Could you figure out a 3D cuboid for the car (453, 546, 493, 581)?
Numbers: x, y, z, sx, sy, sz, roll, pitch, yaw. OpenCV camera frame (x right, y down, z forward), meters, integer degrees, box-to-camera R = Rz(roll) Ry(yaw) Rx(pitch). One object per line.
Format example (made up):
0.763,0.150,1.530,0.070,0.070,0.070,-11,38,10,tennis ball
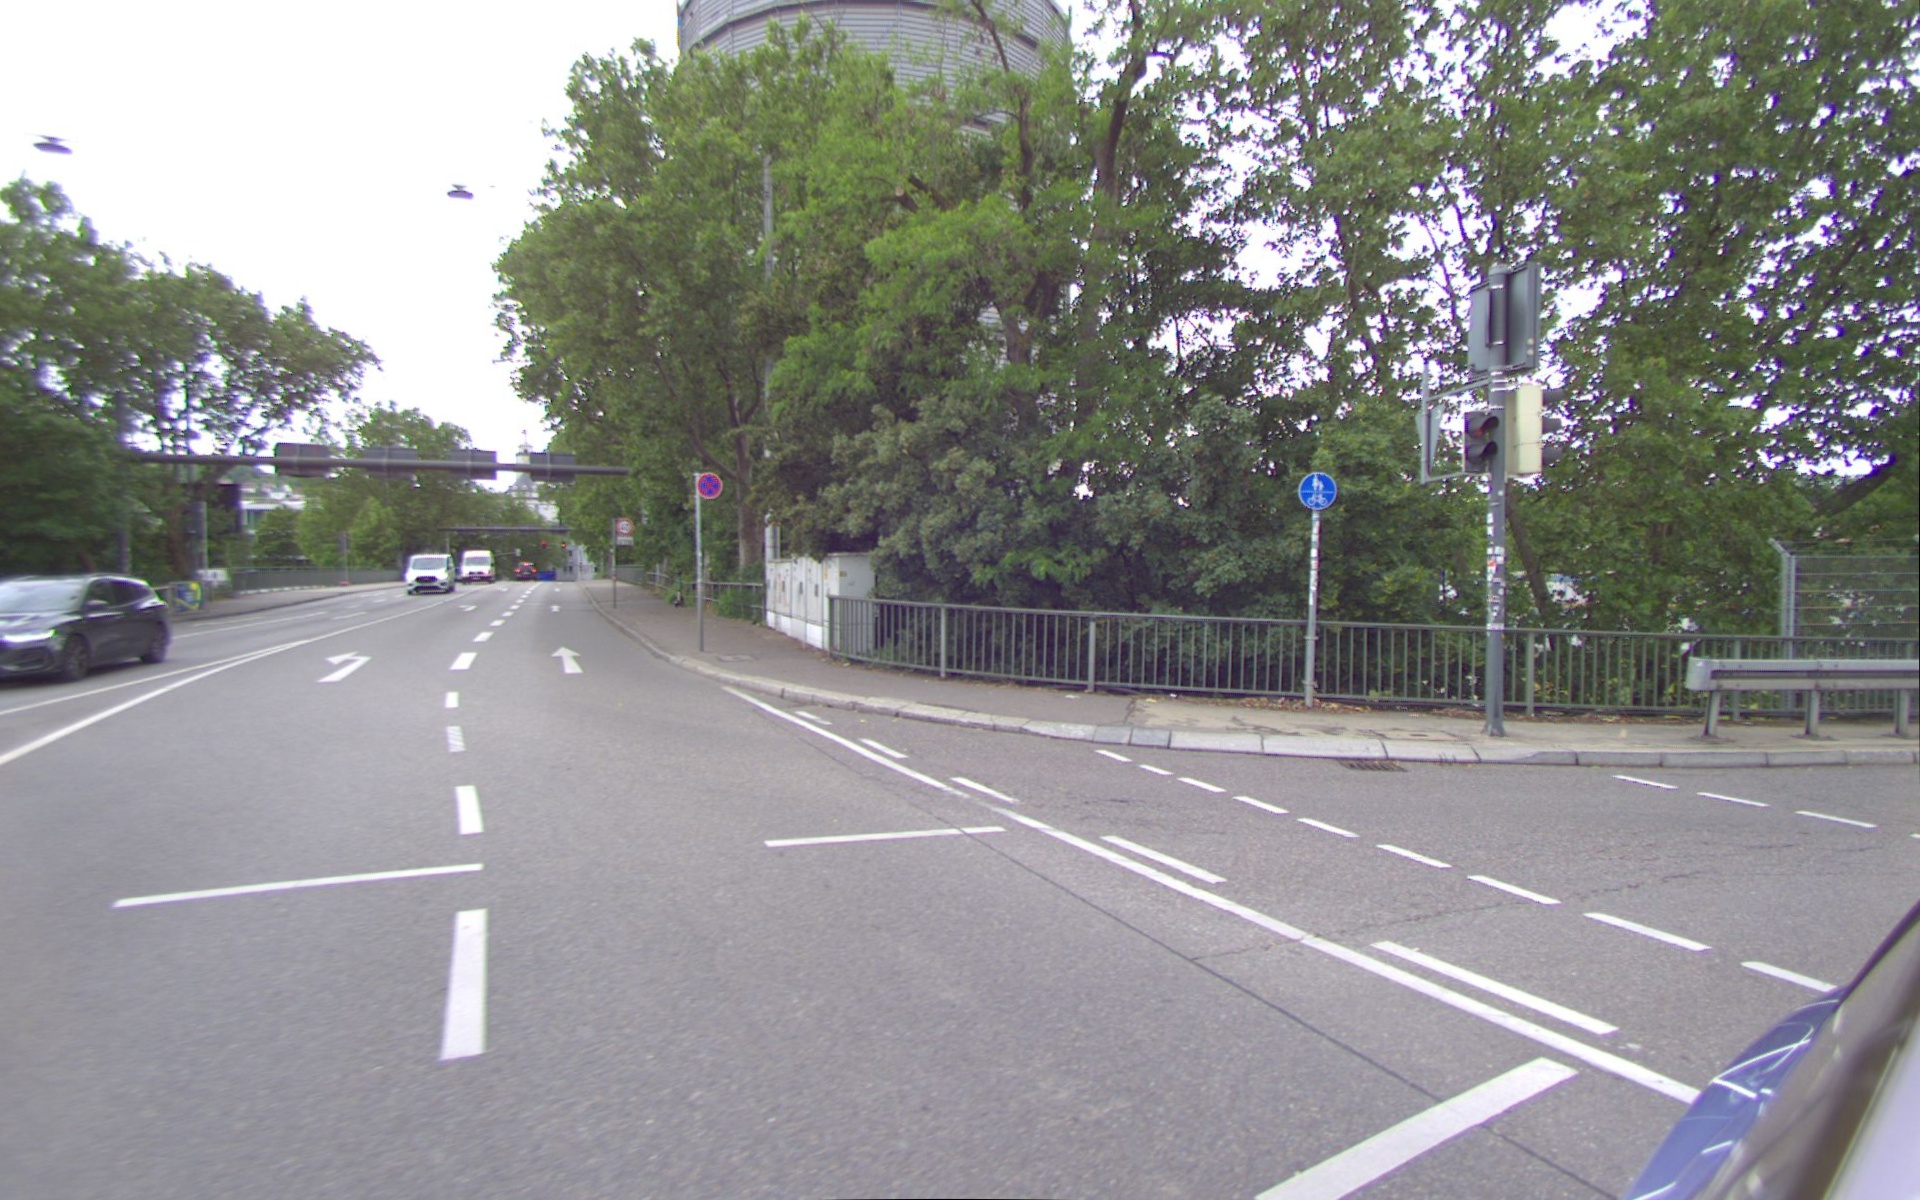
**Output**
-36.862,-2.759,76.714,2.284,2.555,4.960,1,2,-21,car

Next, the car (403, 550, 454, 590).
-27.706,-1.549,52.861,1.894,2.024,4.462,0,1,-22,car

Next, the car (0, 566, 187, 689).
-13.320,0.305,14.713,1.894,1.437,4.464,-2,4,-18,car

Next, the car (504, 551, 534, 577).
-40.251,-3.332,92.429,1.959,2.036,4.011,-5,5,-18,car
